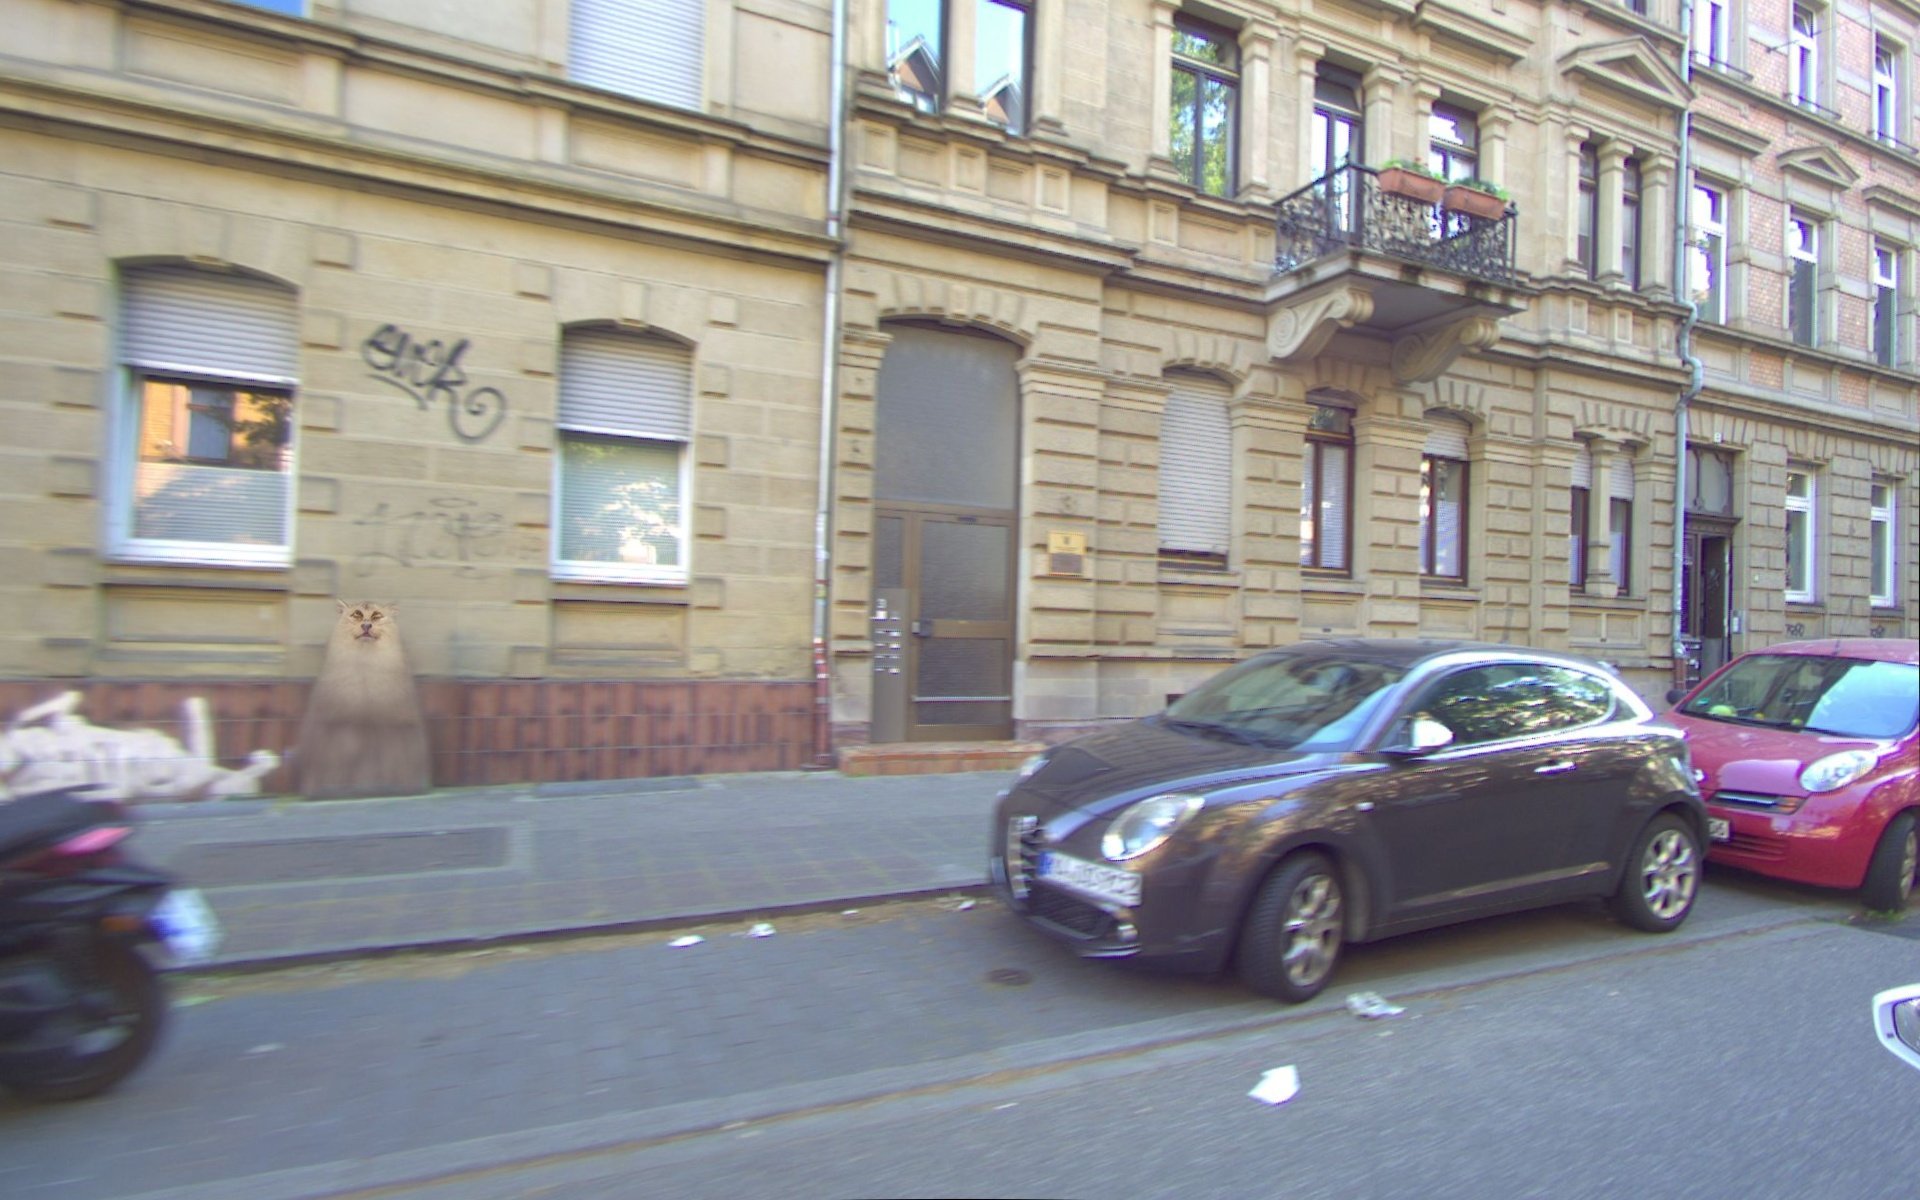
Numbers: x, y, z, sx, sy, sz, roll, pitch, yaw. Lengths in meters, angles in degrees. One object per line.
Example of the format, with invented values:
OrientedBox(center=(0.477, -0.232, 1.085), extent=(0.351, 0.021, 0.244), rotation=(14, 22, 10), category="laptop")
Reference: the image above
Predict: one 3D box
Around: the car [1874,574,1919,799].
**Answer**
OrientedBox(center=(11.014, 0.829, 9.324), extent=(5.188, 1.969, 1.827), rotation=(2, 0, -25), category="car")

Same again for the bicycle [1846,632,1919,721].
OrientedBox(center=(15.018, 1.163, 15.672), extent=(2.789, 1.272, 0.738), rotation=(1, 0, -25), category="bicycle")

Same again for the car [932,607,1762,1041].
OrientedBox(center=(2.042, 0.859, 5.253), extent=(4.005, 1.521, 1.753), rotation=(2, 0, -25), category="car")

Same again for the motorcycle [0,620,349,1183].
OrientedBox(center=(-3.220, 0.749, 2.696), extent=(2.572, 1.388, 1.062), rotation=(2, -1, -27), category="motorcycle")

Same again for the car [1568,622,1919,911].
OrientedBox(center=(6.158, 0.958, 6.837), extent=(3.646, 1.495, 1.589), rotation=(2, 0, -22), category="car")
